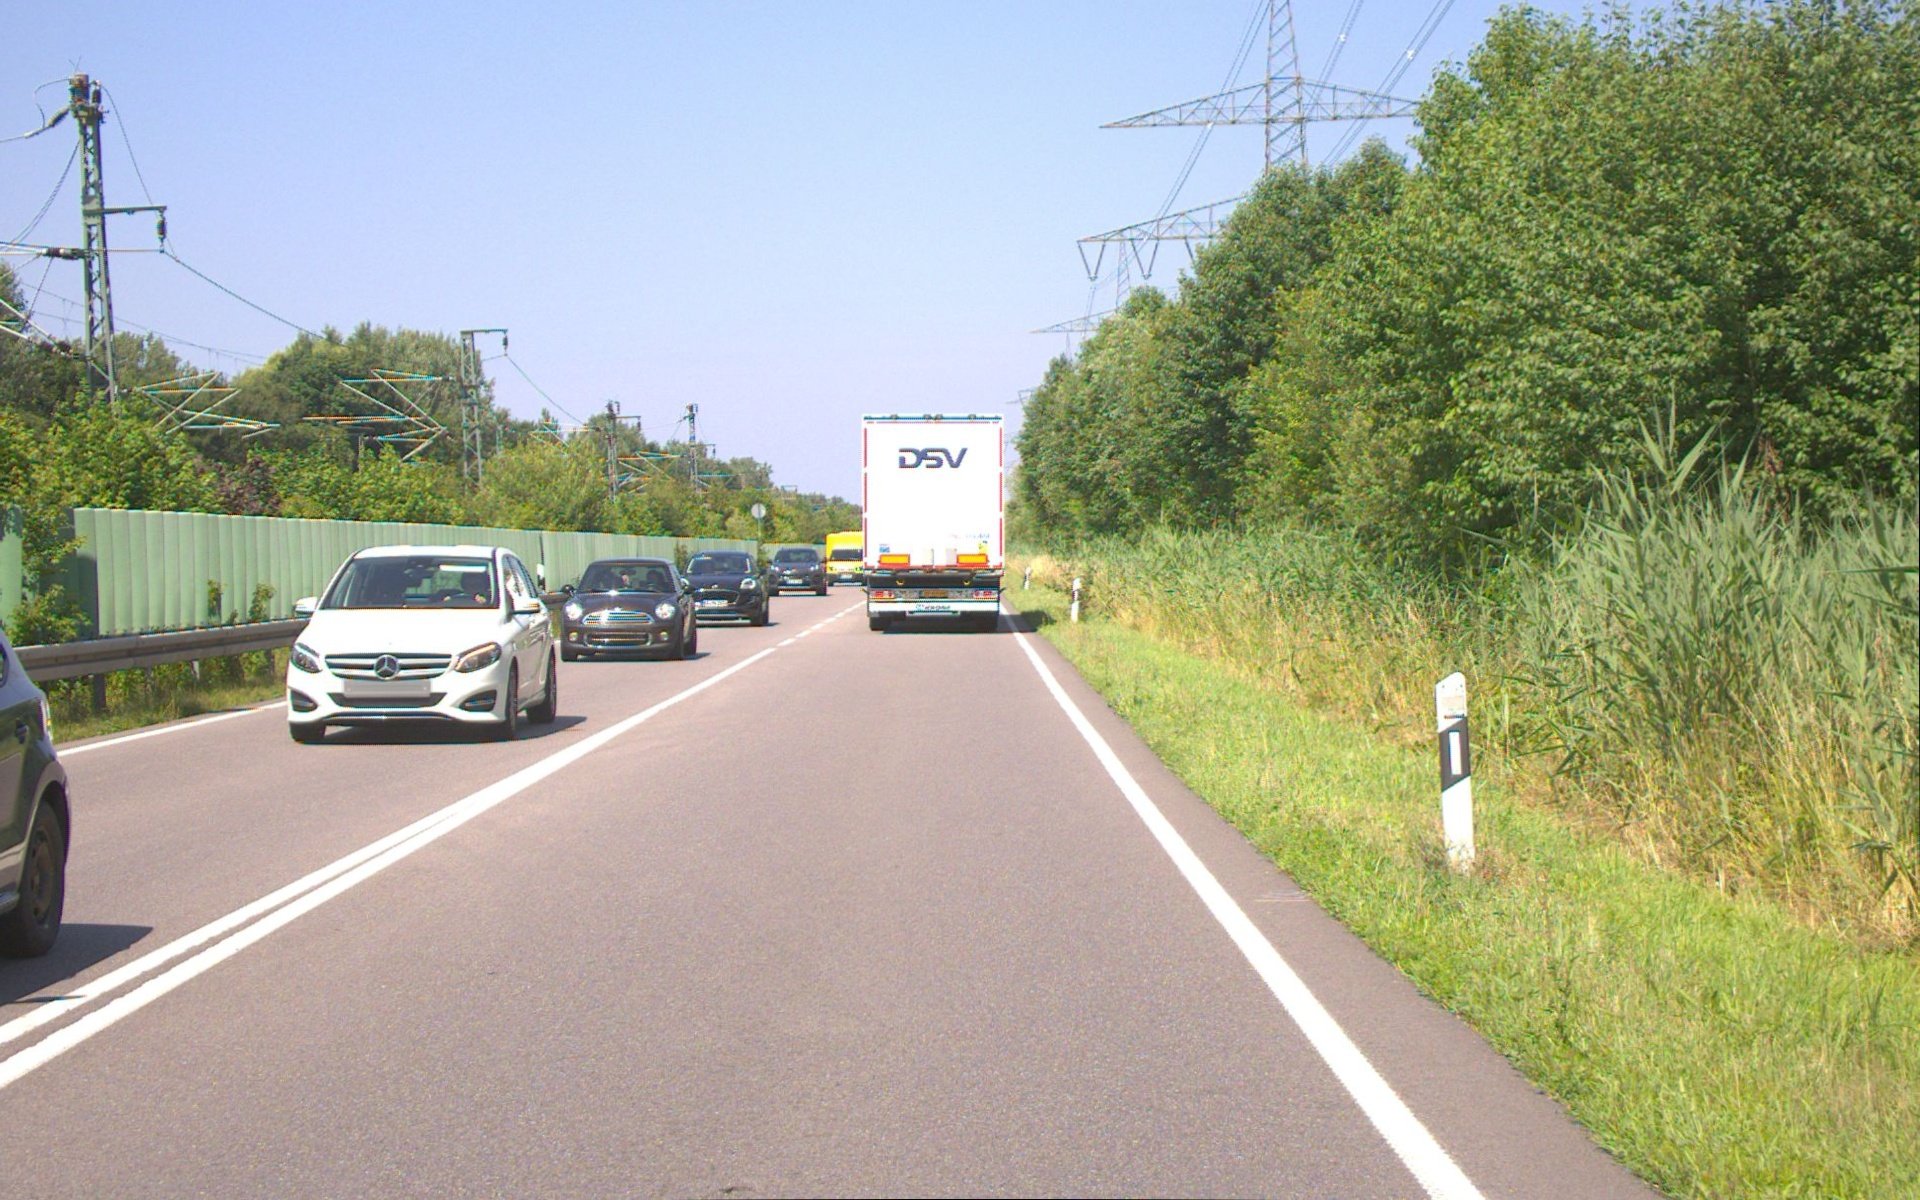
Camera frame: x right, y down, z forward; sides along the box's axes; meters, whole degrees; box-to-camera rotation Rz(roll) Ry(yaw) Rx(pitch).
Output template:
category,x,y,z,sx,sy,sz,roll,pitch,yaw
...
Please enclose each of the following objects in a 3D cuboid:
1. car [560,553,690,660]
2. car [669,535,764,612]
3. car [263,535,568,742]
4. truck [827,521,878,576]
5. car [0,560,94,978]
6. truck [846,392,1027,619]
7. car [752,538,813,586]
category,x,y,z,sx,sy,sz,roll,pitch,yaw
car,-4.686,0.057,48.471,1.506,1.430,3.743,0,1,-1
car,-4.933,-0.556,70.107,1.673,1.509,4.289,0,1,0
car,-4.470,0.263,28.818,1.825,1.600,4.323,0,1,1
truck,-4.680,-2.244,149.954,1.993,2.340,6.012,0,1,0
car,-4.118,0.601,11.325,1.614,1.436,3.795,0,1,-1
truck,-0.470,-1.781,67.577,3.192,4.029,12.007,-1,1,0
car,-5.966,-1.288,116.062,1.801,1.582,4.371,0,1,0
